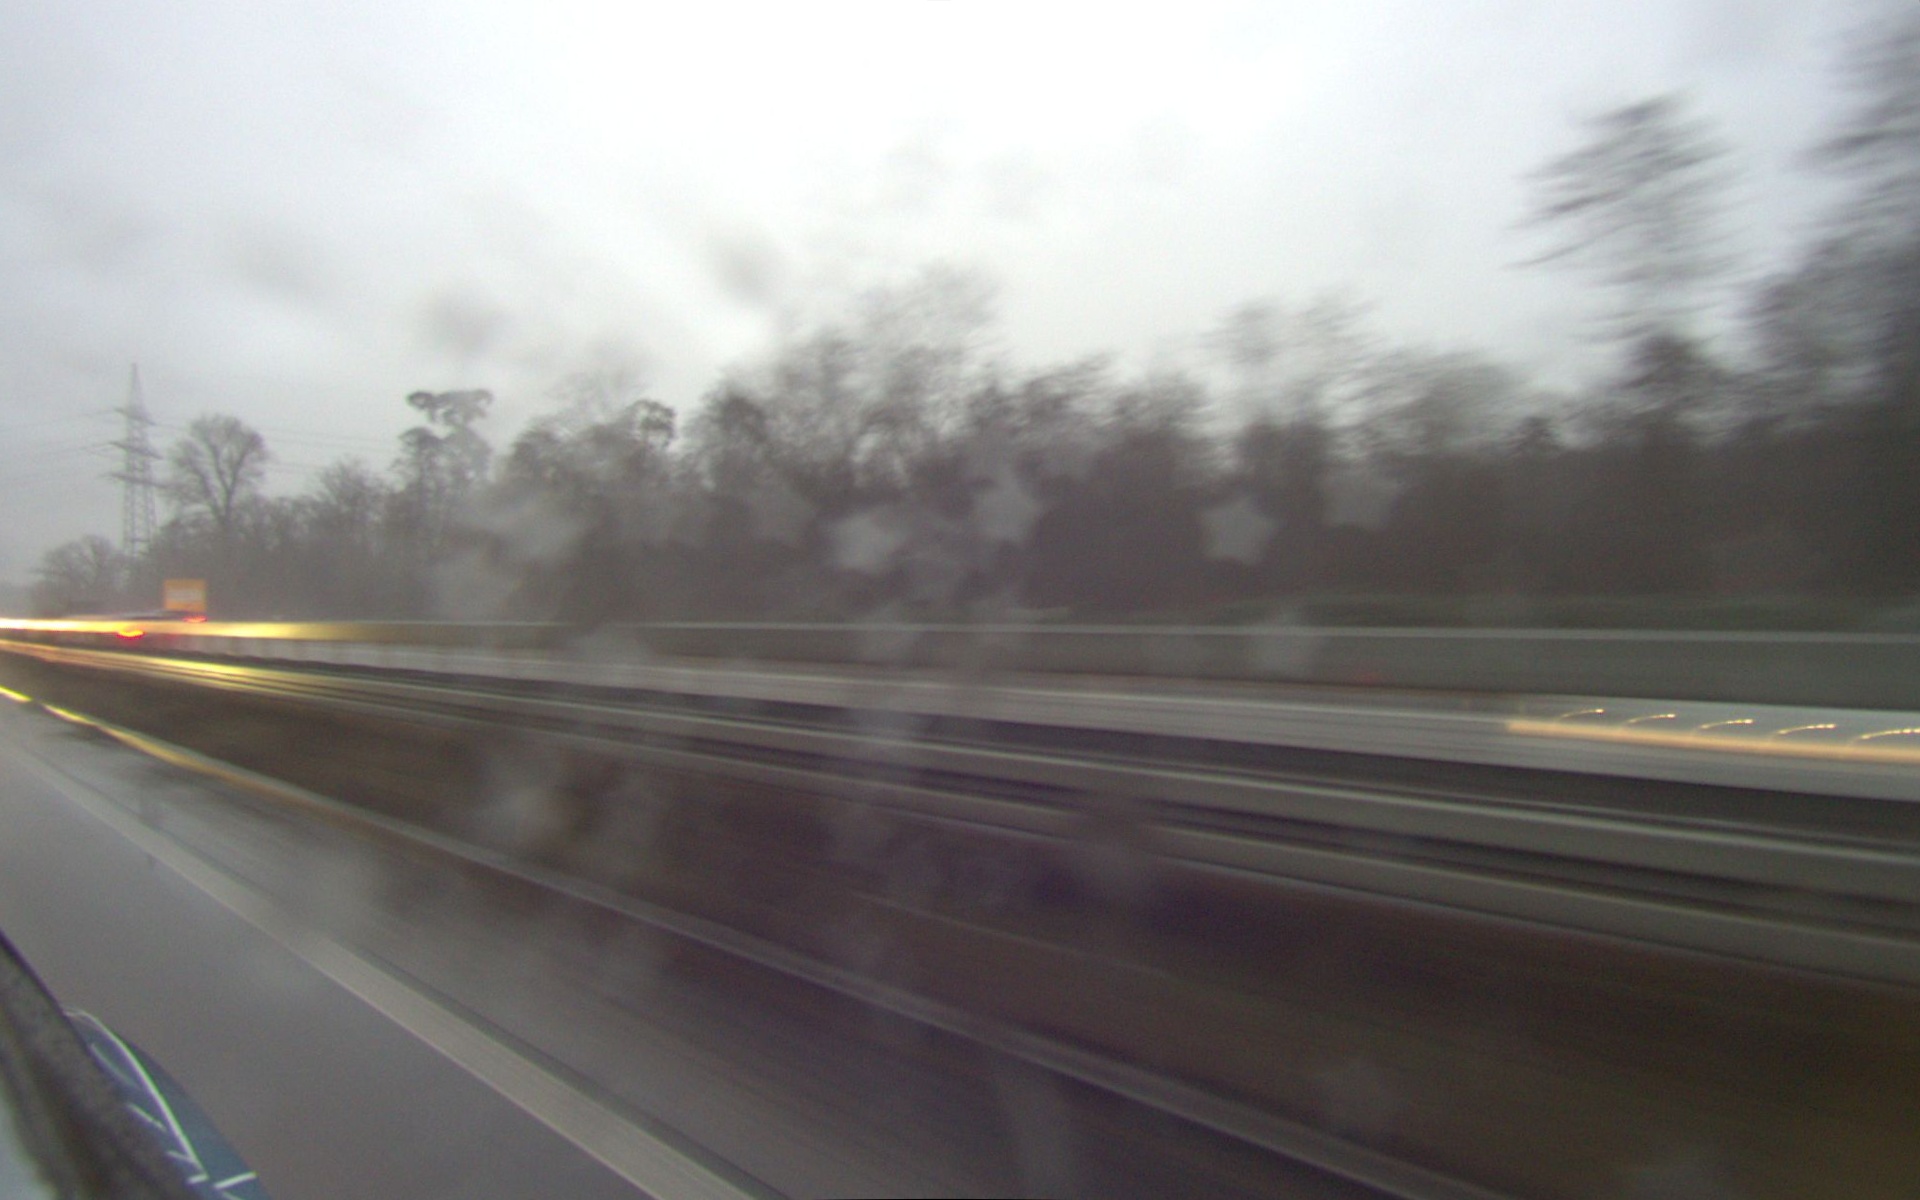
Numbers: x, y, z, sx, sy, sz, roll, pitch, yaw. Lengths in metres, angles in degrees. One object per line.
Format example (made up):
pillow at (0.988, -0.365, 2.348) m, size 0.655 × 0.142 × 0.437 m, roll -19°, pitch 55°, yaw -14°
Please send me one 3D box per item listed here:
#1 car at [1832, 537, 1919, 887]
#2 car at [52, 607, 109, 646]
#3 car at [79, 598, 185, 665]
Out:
car at (6.267, 0.446, 3.754) m, size 4.575 × 1.545 × 1.667 m, roll -1°, pitch 1°, yaw 41°
car at (-54.388, 1.588, 62.566) m, size 4.920 × 2.229 × 1.973 m, roll -1°, pitch 1°, yaw 42°
car at (-27.592, 0.999, 33.687) m, size 3.996 × 2.028 × 1.974 m, roll -1°, pitch 1°, yaw 40°
